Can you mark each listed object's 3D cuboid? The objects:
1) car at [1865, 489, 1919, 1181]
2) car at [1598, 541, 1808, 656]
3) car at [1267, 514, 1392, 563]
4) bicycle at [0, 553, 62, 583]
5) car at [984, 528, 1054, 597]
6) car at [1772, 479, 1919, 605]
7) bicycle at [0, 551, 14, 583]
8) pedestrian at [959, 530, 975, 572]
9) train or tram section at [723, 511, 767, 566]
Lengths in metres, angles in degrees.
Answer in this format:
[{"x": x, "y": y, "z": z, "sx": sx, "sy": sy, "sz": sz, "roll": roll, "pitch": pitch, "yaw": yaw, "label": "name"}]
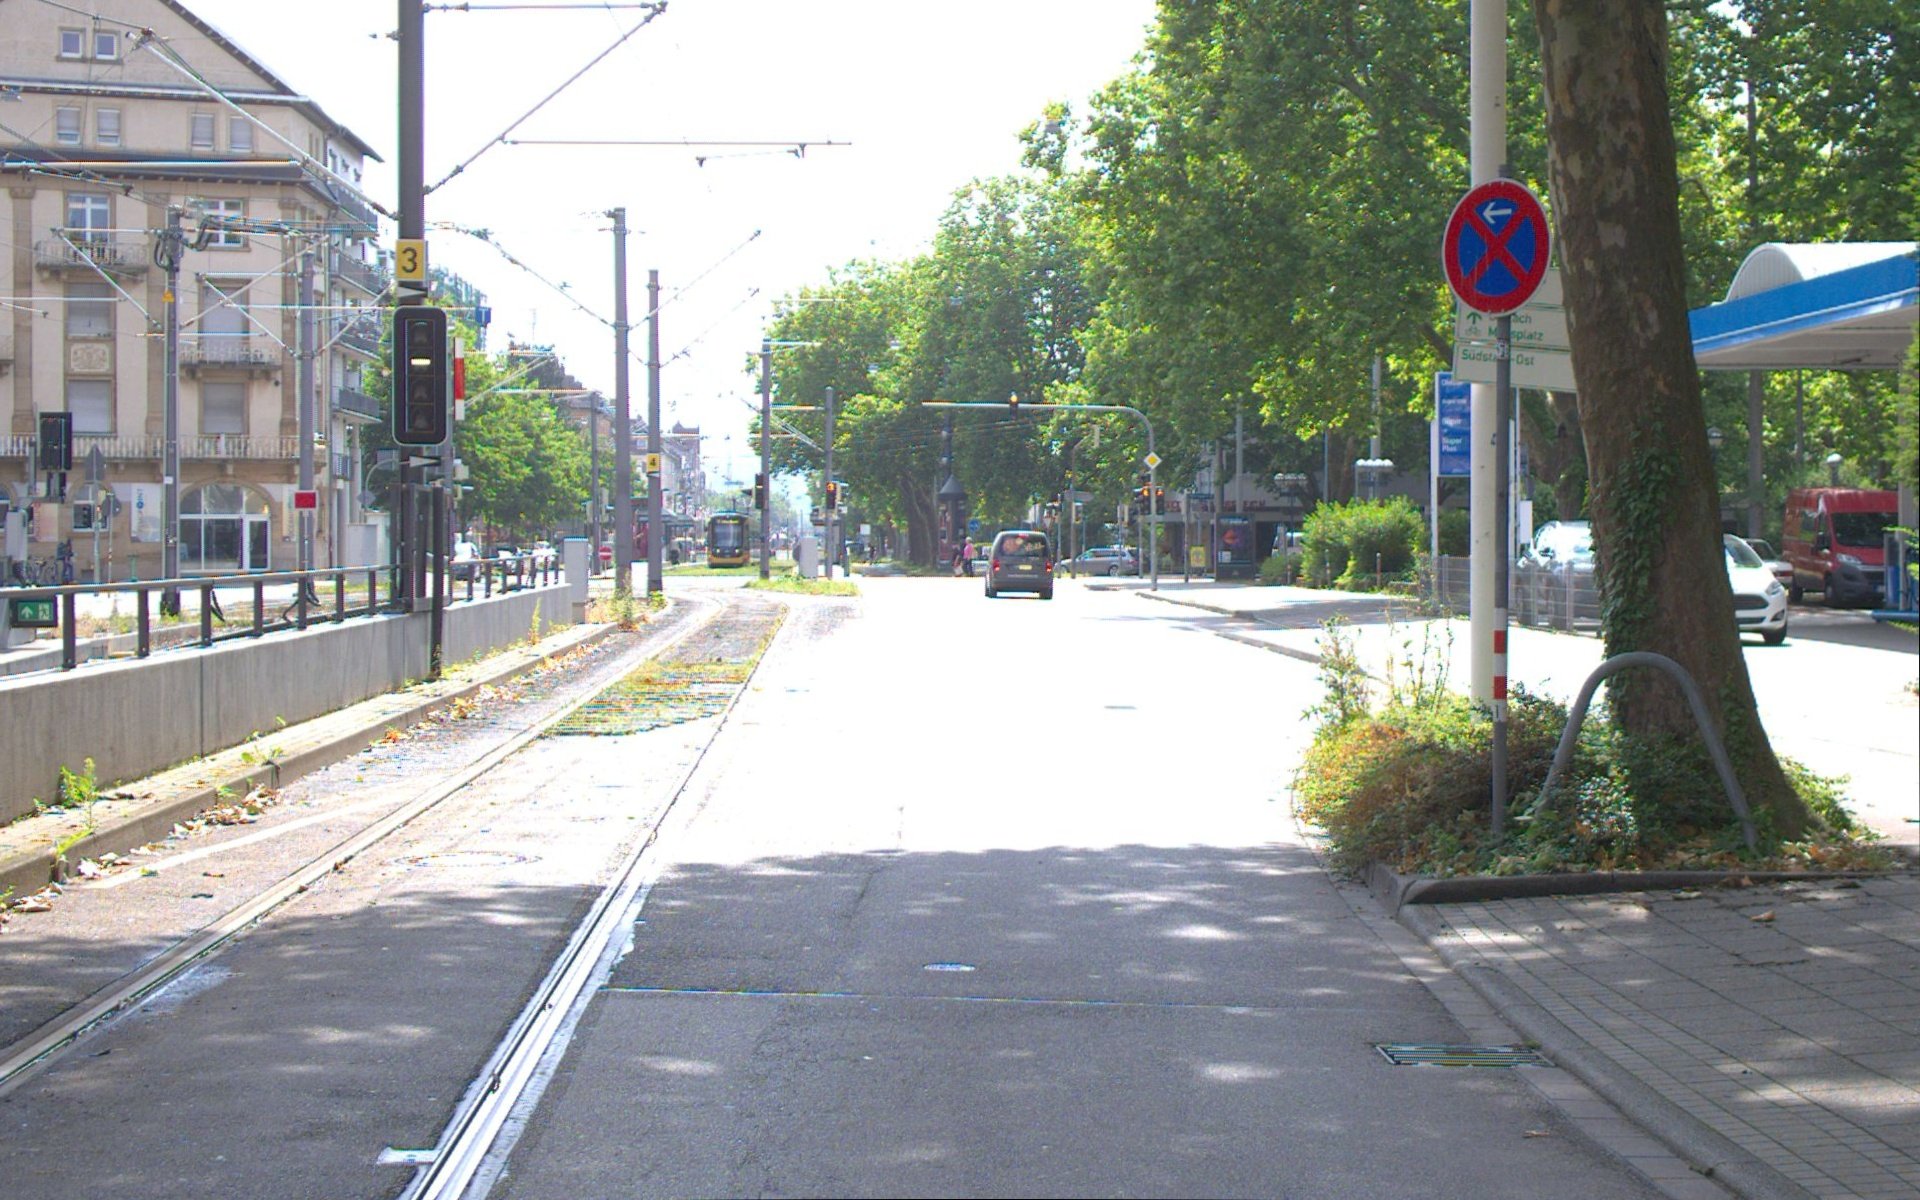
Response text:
[{"x": 2.870, "y": 0.529, "z": 5.739, "sx": 1.553, "sy": 1.480, "sz": 3.859, "roll": -2, "pitch": 2, "yaw": -2, "label": "car"}, {"x": 9.927, "y": -0.054, "z": 46.226, "sx": 1.805, "sy": 1.450, "sz": 4.002, "roll": 0, "pitch": 1, "yaw": -2, "label": "car"}, {"x": 14.369, "y": -2.388, "z": 133.545, "sx": 4.736, "sy": 1.853, "sz": 2.000, "roll": -1, "pitch": 1, "yaw": -36, "label": "car"}, {"x": -33.330, "y": -1.153, "z": 122.356, "sx": 2.557, "sy": 1.049, "sz": 0.682, "roll": -1, "pitch": 1, "yaw": -29, "label": "bicycle"}, {"x": 1.606, "y": -1.045, "z": 94.407, "sx": 1.750, "sy": 1.802, "sz": 3.475, "roll": 1, "pitch": 1, "yaw": -1, "label": "car"}, {"x": 19.100, "y": -1.246, "z": 73.362, "sx": 2.111, "sy": 2.573, "sz": 6.020, "roll": 0, "pitch": 1, "yaw": 0, "label": "car"}, {"x": -34.307, "y": -1.154, "z": 120.921, "sx": 1.970, "sy": 1.110, "sz": 0.487, "roll": -1, "pitch": 1, "yaw": -38, "label": "bicycle"}, {"x": 0.300, "y": -2.050, "z": 144.263, "sx": 0.659, "sy": 1.778, "sz": 0.660, "roll": 0, "pitch": 1, "yaw": -1, "label": "pedestrian"}, {"x": -13.384, "y": -3.836, "z": 214.818, "sx": 2.240, "sy": 3.320, "sz": 12.972, "roll": 0, "pitch": 1, "yaw": -1, "label": "train or tram section"}]
